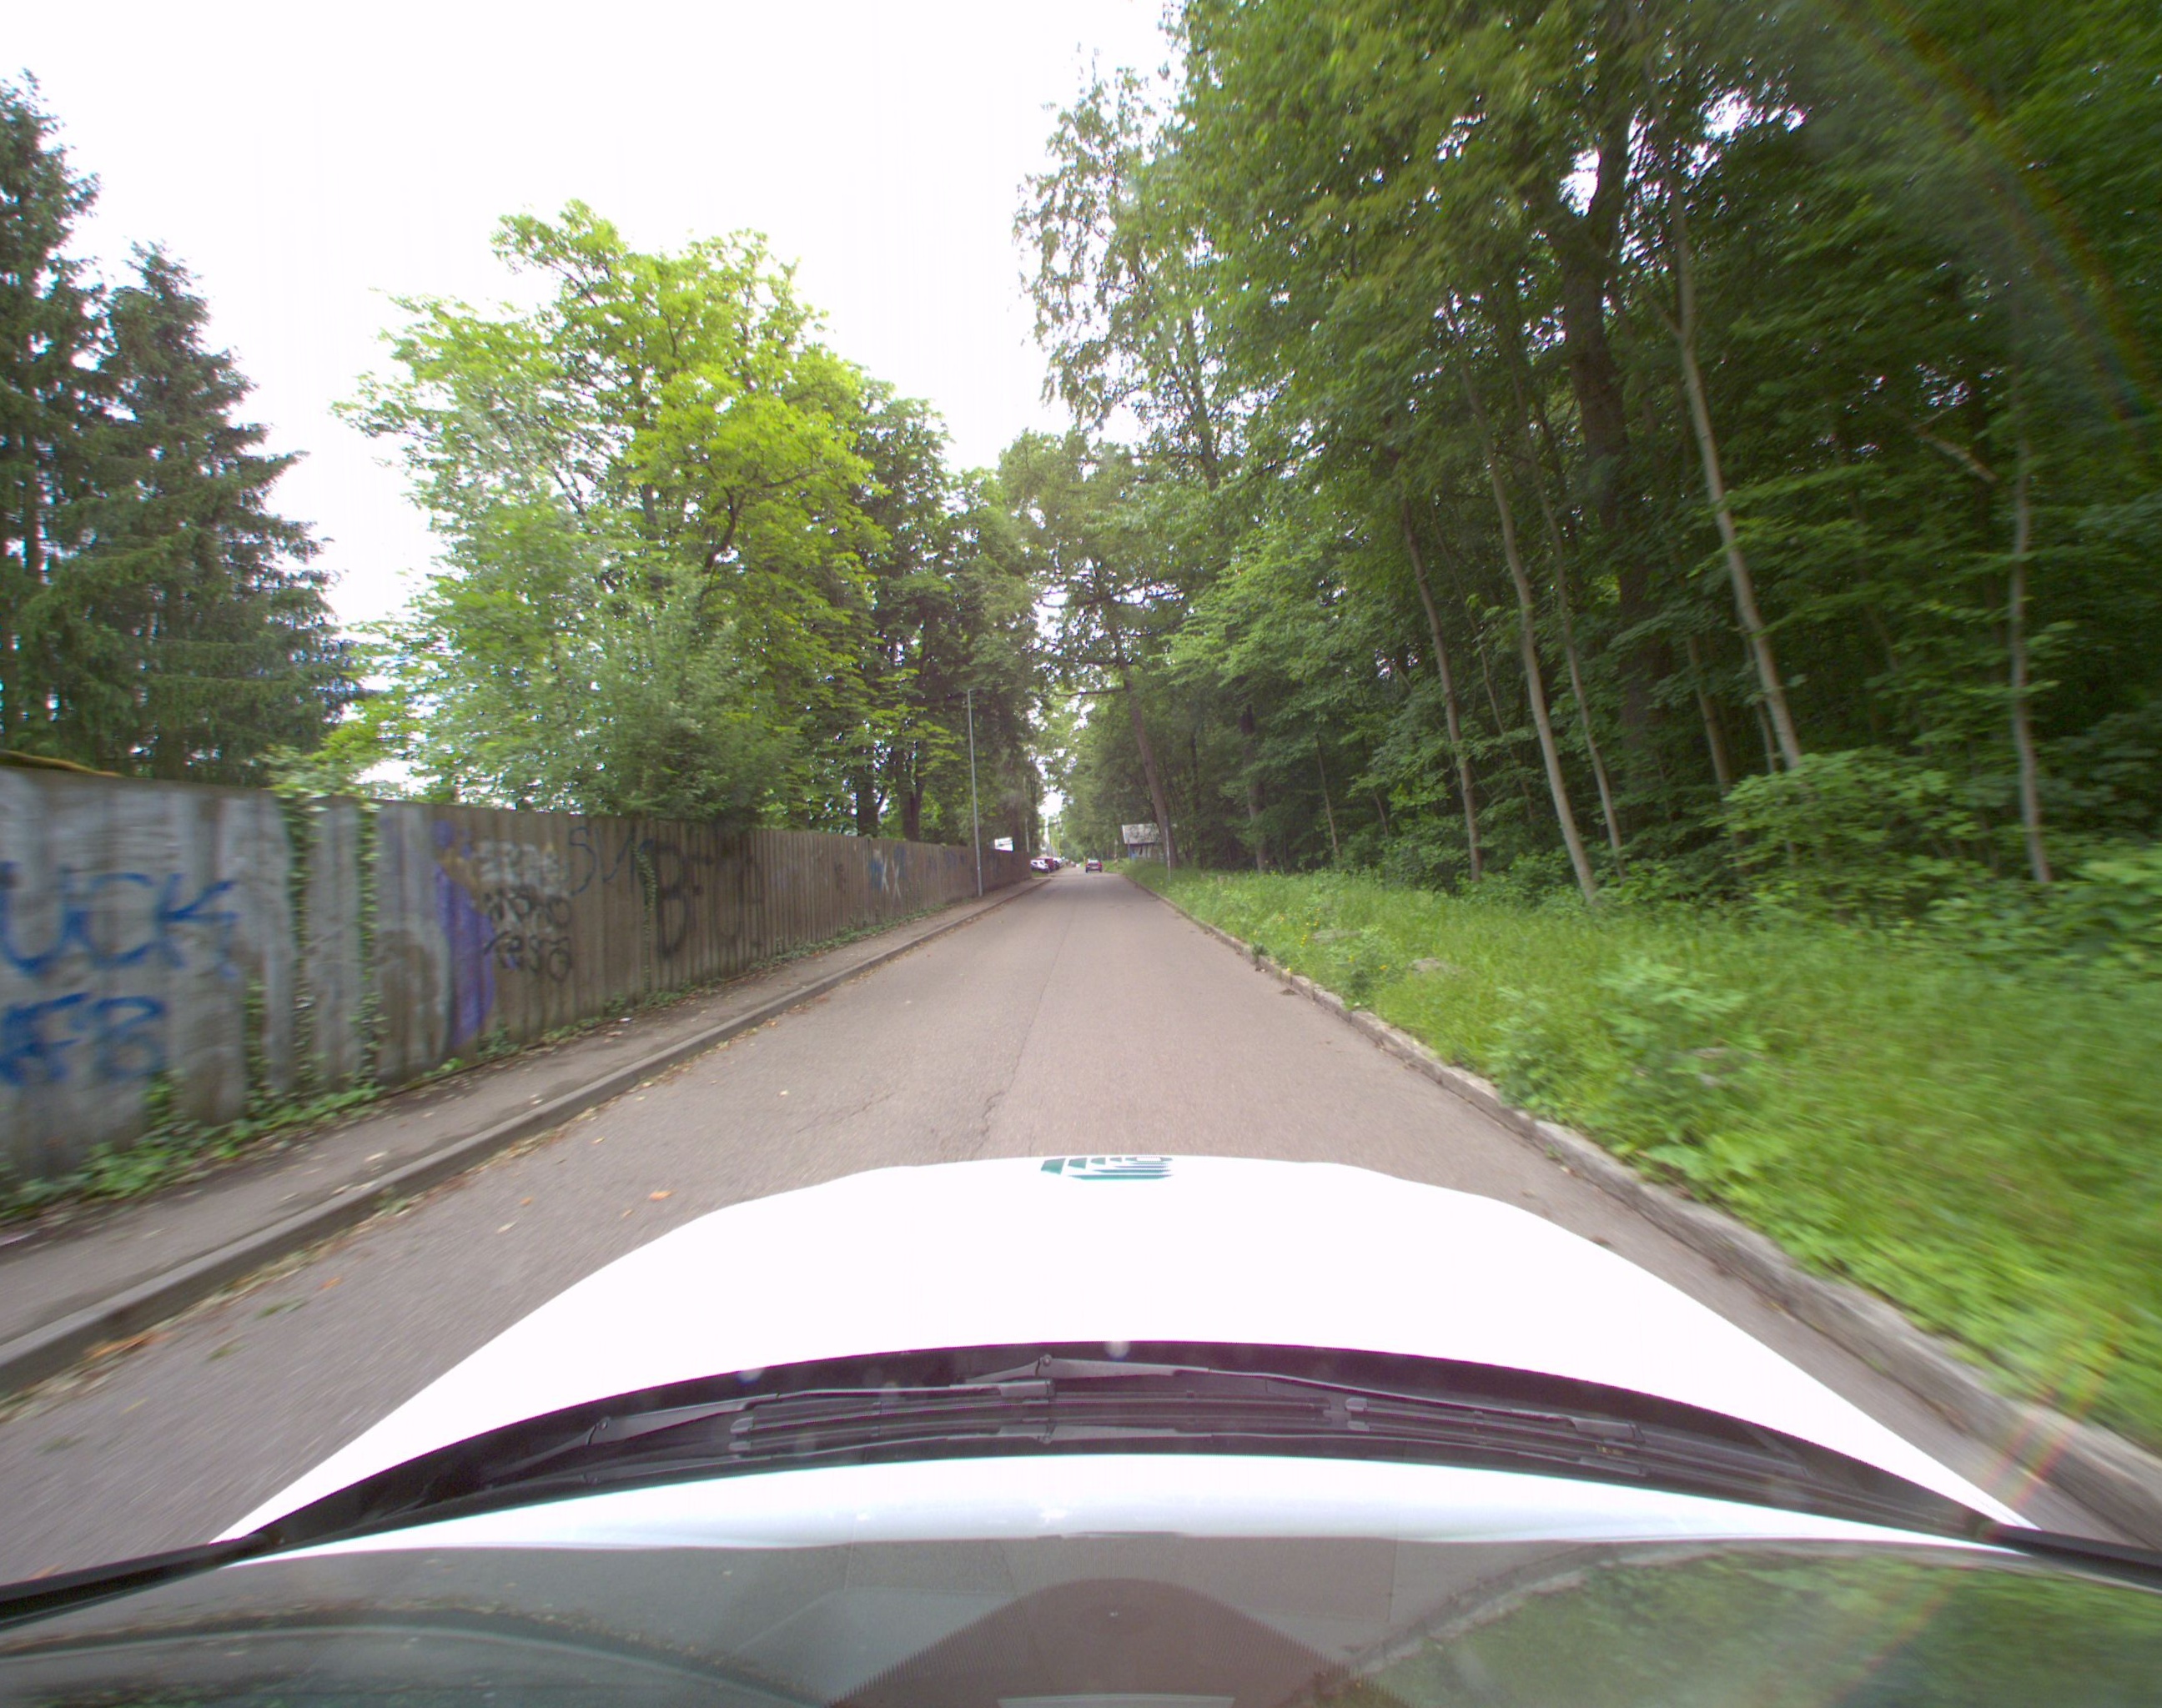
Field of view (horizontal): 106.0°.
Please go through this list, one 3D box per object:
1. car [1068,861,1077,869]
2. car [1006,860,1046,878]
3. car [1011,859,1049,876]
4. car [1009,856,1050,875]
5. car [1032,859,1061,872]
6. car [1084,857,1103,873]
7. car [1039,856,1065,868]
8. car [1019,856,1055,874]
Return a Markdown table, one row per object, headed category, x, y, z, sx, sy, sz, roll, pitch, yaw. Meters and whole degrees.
| category | x | y | z | sx | sy | sz | roll | pitch | yaw |
| --- | --- | --- | --- | --- | --- | --- | --- | --- | --- |
| car | -2.431 | 3.133 | 225.859 | 1.990 | 2.013 | 3.993 | -4 | 0 | -5 |
| car | -5.621 | 1.505 | 83.507 | 3.979 | 1.574 | 1.998 | -4 | 0 | -4 |
| car | -5.582 | 1.505 | 89.135 | 3.979 | 1.574 | 1.998 | -4 | 0 | -4 |
| car | -5.103 | 1.167 | 81.182 | 3.979 | 1.574 | 1.998 | -4 | 0 | -4 |
| car | -4.383 | 1.452 | 103.430 | 3.560 | 1.407 | 1.650 | -4 | -1 | 0 |
| car | 1.303 | 1.133 | 84.525 | 1.901 | 1.508 | 4.001 | -1 | -1 | 2 |
| car | -4.604 | 1.270 | 129.154 | 3.974 | 1.596 | 1.764 | -5 | -1 | 0 |
| car | -5.076 | 1.263 | 94.244 | 3.979 | 1.750 | 1.998 | -4 | 0 | -4 |
